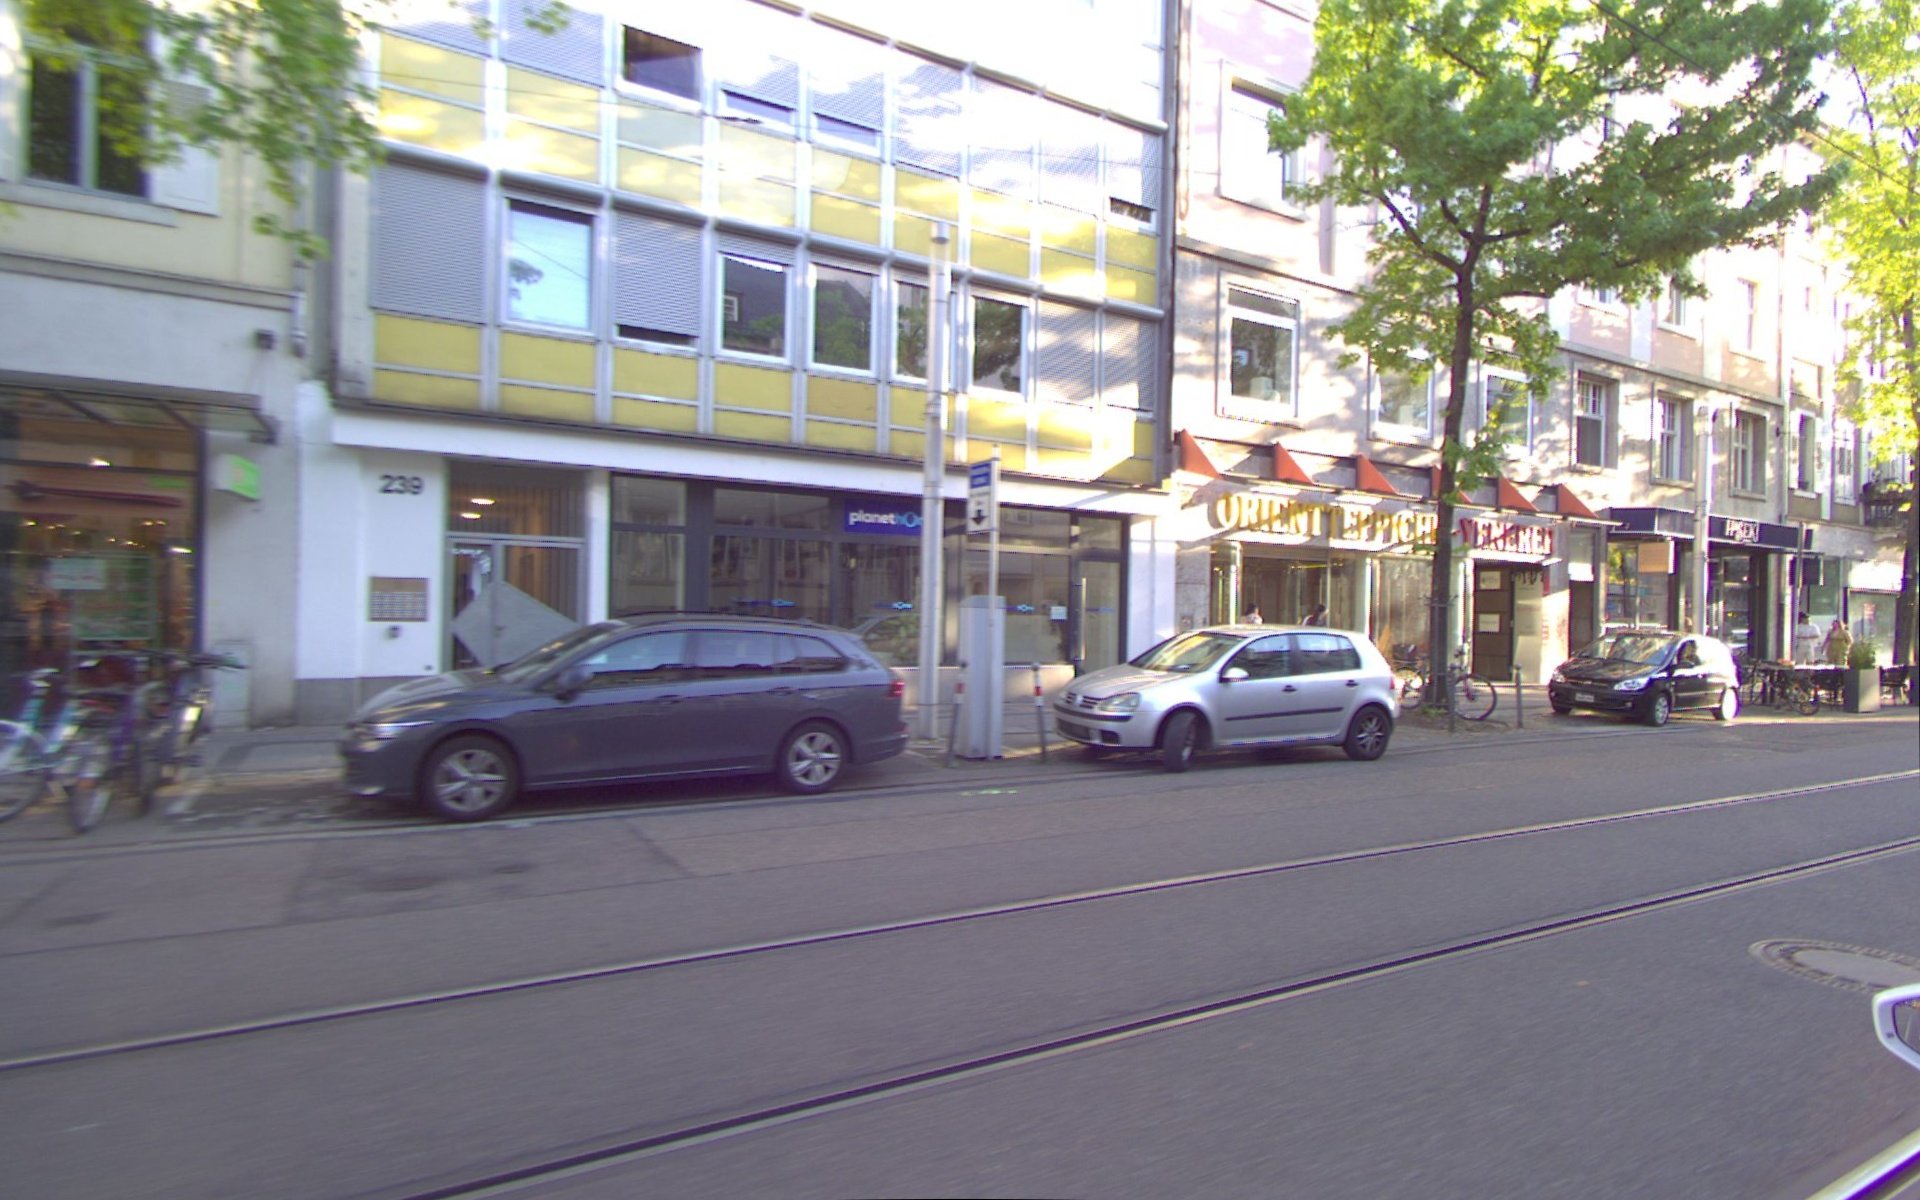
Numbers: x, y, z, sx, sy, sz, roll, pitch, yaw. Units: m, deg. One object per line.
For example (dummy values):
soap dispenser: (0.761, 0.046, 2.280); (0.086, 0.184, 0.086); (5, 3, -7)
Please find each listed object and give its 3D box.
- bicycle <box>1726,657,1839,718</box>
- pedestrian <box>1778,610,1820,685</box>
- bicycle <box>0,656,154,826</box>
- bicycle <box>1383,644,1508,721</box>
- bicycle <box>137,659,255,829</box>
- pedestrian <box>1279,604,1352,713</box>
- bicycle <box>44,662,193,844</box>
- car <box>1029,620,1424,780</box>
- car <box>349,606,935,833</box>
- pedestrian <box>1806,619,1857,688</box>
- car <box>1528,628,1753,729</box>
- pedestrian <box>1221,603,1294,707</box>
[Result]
bicycle: (15.517, 1.634, 18.991); (0.426, 0.978, 1.612); (1, 1, -23)
pedestrian: (23.273, 1.309, 27.867); (0.635, 2.040, 0.719); (1, 0, -29)
bicycle: (-6.589, 0.971, 7.486); (0.414, 1.014, 1.965); (1, -1, -24)
bicycle: (7.783, 1.302, 16.174); (0.436, 1.079, 1.796); (1, 0, -37)
bicycle: (-5.707, 1.004, 7.574); (0.326, 1.014, 1.964); (1, -1, -27)
pedestrian: (5.780, 0.933, 16.355); (0.732, 1.716, 0.840); (1, -1, -30)
bicycle: (-5.895, 0.996, 7.120); (0.326, 1.014, 1.964); (1, -1, -26)
car: (3.013, 1.040, 11.348); (4.117, 1.517, 1.762); (2, -1, -24)
car: (-2.576, 0.861, 8.596); (4.432, 1.480, 1.703); (1, 1, -30)
pedestrian: (23.497, 1.429, 27.083); (1.077, 1.784, 0.718); (1, 0, -29)
car: (11.646, 1.278, 17.154); (3.782, 1.447, 1.657); (1, 2, -30)
pedestrian: (5.099, 0.926, 17.231); (0.903, 1.716, 0.785); (1, -1, -30)
